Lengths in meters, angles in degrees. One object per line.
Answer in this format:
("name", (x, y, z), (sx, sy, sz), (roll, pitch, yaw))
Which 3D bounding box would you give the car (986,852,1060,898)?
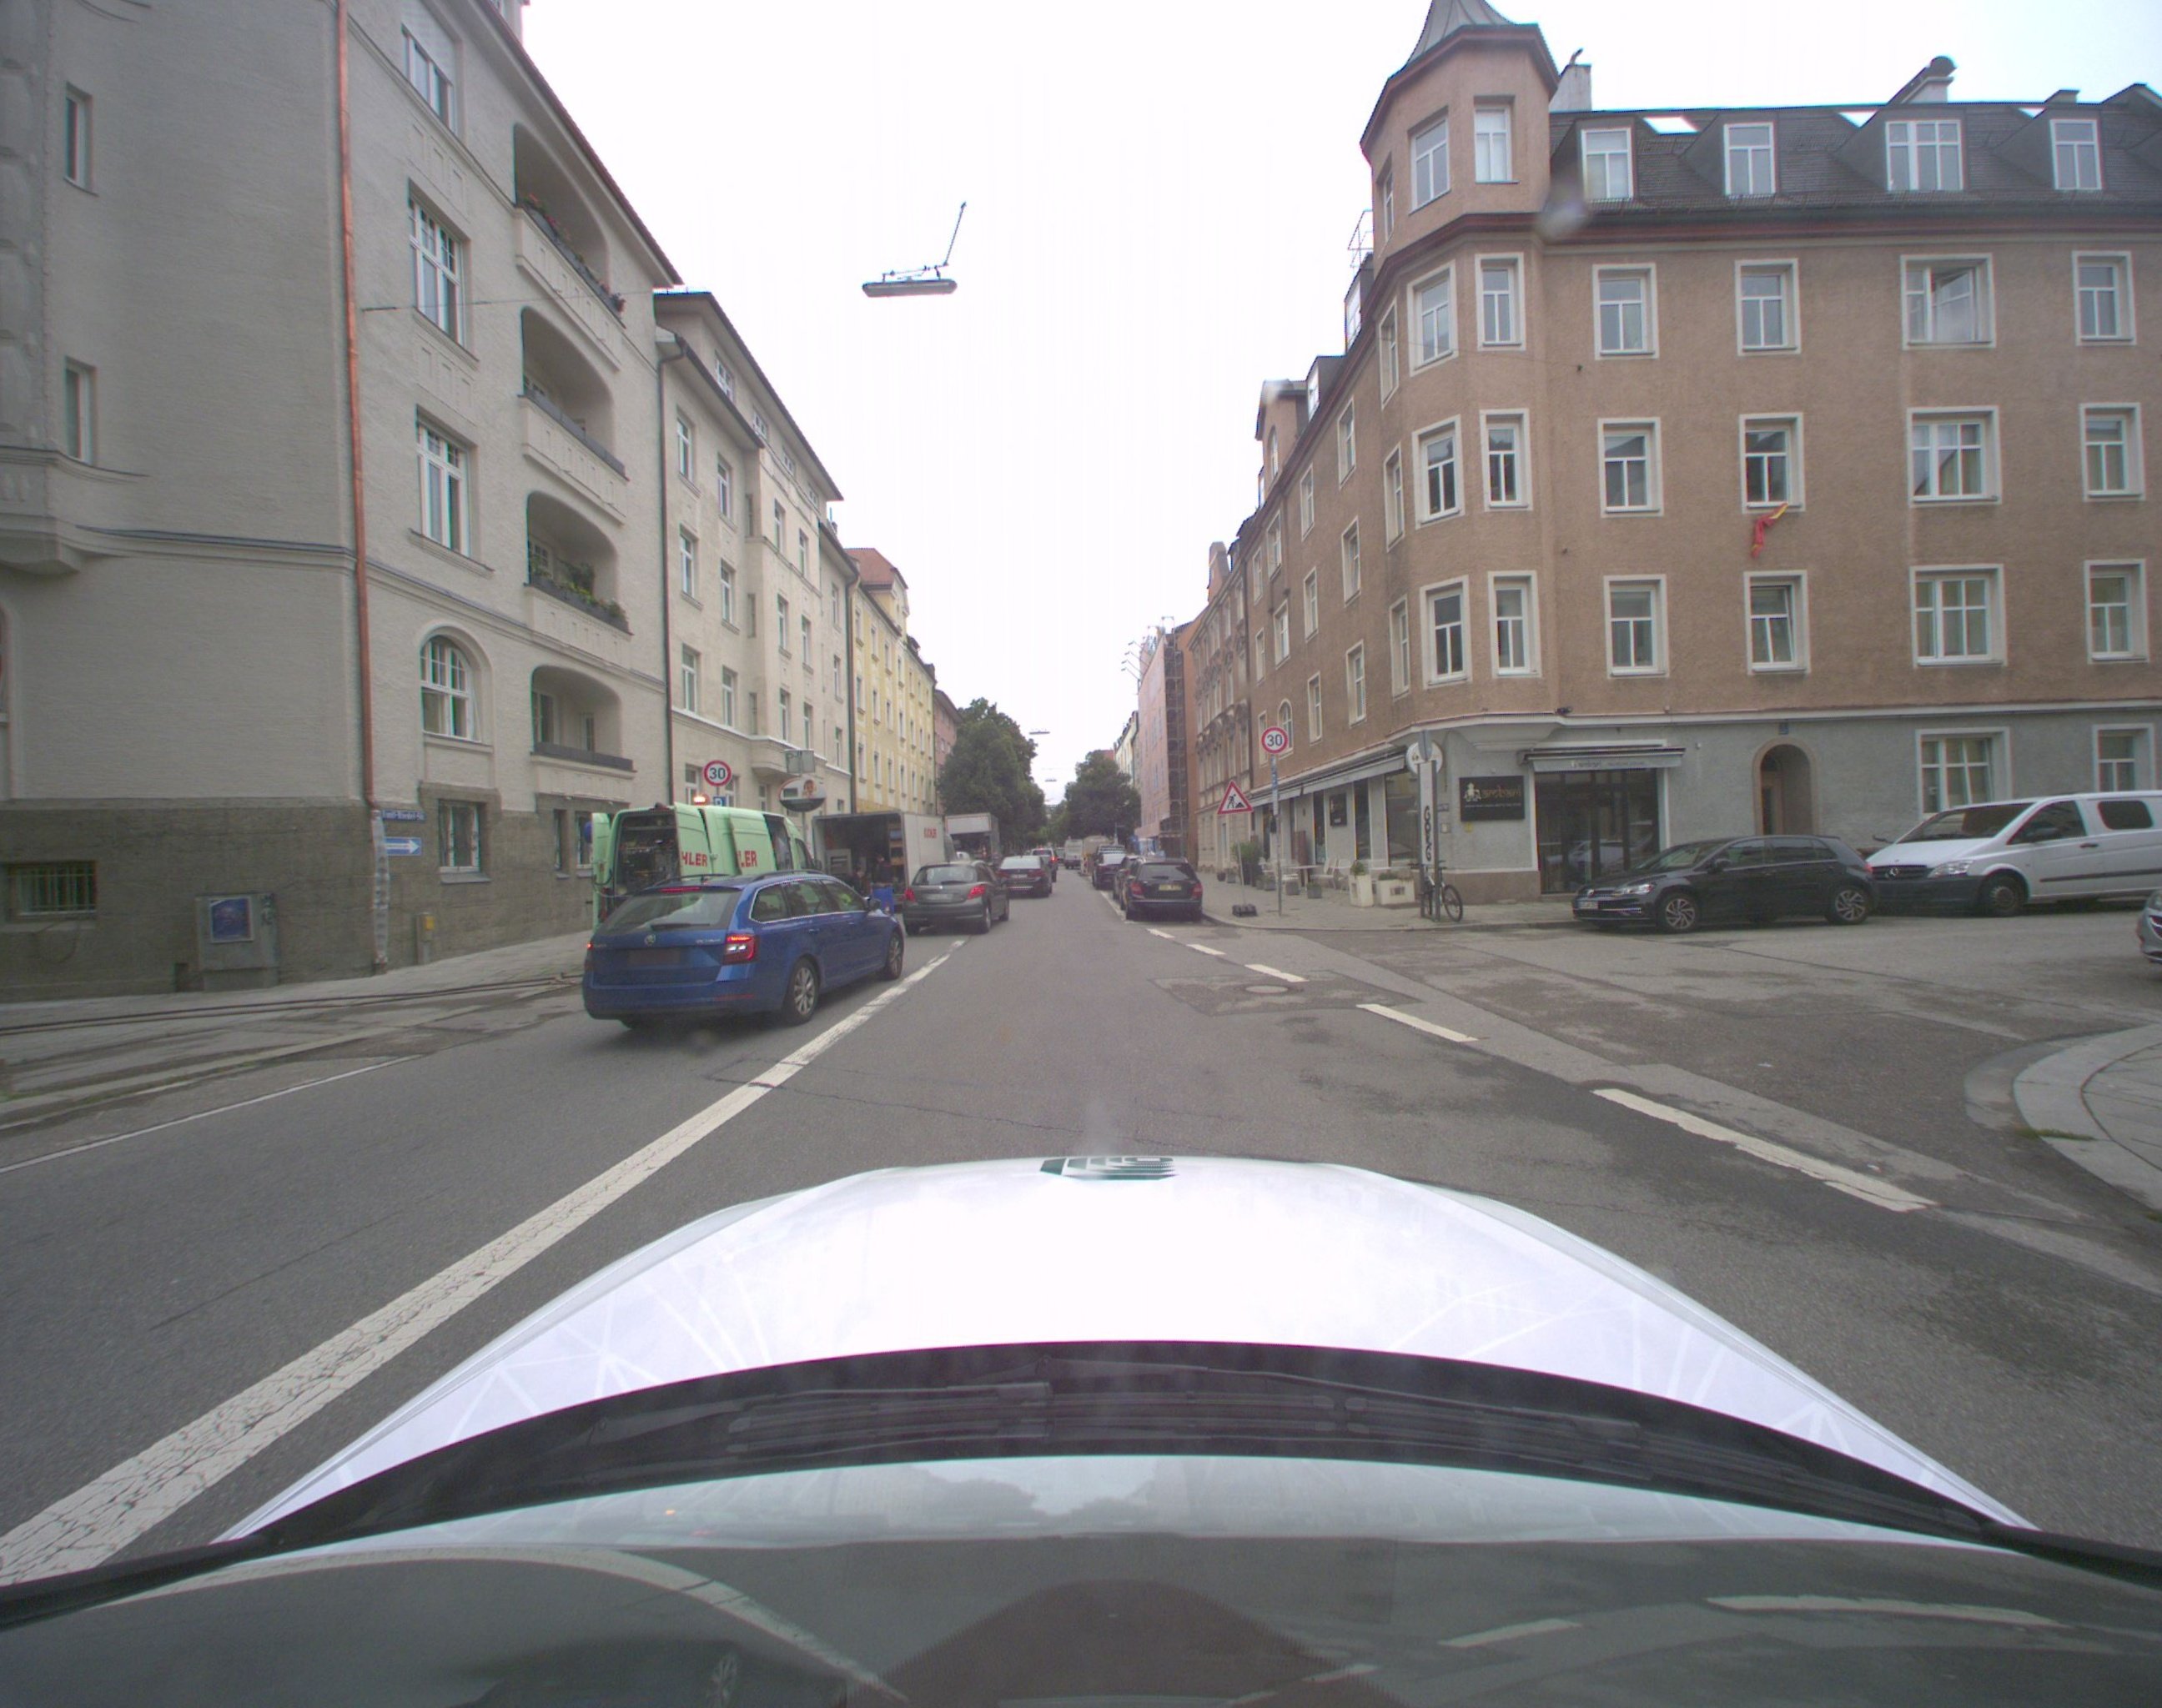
("car", (-1.970, 0.683, 29.048), (1.982, 1.429, 4.910), (1, 1, 3))

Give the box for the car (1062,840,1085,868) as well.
("car", (-0.630, -0.021, 75.417), (1.932, 2.480, 4.784), (-1, 0, 1))

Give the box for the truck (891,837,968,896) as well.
("truck", (-6.125, 0.472, 33.449), (2.280, 2.171, 4.804), (-1, 0, -1))

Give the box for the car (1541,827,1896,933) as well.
("car", (10.007, 0.420, 13.057), (4.156, 1.429, 1.924), (-2, -2, -1))

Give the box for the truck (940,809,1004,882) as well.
("truck", (-6.351, -0.462, 48.600), (3.004, 3.951, 6.990), (-1, 0, -2))

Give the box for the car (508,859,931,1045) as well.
("car", (-3.381, 0.824, 8.908), (1.976, 1.454, 4.744), (-2, -1, 8))

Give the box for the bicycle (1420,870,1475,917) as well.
("bicycle", (6.792, 0.717, 15.146), (0.455, 0.805, 1.327), (-1, 0, 2))

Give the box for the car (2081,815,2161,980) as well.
("car", (11.584, 0.333, 6.902), (4.022, 1.456, 1.747), (-2, 2, 1))

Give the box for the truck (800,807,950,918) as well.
("truck", (-6.046, 0.175, 25.279), (2.765, 2.873, 7.200), (-2, 1, 0))

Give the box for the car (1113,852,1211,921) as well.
("car", (1.862, 0.702, 19.920), (1.839, 1.429, 4.181), (1, 1, -2))

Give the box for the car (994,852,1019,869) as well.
("car", (-6.846, 0.594, 75.274), (1.934, 1.448, 3.864), (-1, 0, -1))

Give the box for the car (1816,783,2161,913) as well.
("car", (15.651, -0.087, 13.424), (5.111, 1.854, 2.099), (-2, -2, -1))

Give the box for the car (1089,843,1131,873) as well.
("car", (1.450, 0.168, 42.297), (1.984, 1.429, 4.140), (-2, 1, 0))

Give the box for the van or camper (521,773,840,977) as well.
("van or camper", (-6.672, 0.251, 14.797), (2.592, 2.840, 6.186), (-2, 1, 0))

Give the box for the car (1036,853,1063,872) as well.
("car", (-2.507, 0.667, 66.730), (1.984, 1.429, 4.140), (-2, 1, 0))

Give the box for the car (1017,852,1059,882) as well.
("car", (-2.300, 0.677, 44.297), (1.984, 1.429, 4.140), (-2, 1, 0))

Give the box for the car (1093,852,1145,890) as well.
("car", (1.532, 0.660, 34.395), (1.839, 1.429, 4.304), (1, 1, -2))

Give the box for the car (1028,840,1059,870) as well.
("car", (-2.735, 0.015, 59.826), (1.984, 2.075, 4.140), (-2, 1, 0))

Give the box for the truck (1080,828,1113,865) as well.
("truck", (1.268, -0.594, 68.285), (2.484, 2.973, 5.325), (-1, 0, -1))

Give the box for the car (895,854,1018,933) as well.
("car", (-2.563, 0.768, 17.732), (1.751, 1.461, 4.078), (-2, 0, 3))

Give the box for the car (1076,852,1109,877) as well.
("car", (0.726, 0.636, 52.153), (1.984, 1.429, 4.140), (-2, 1, 0))

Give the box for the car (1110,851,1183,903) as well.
("car", (1.983, 0.671, 25.706), (1.839, 1.429, 4.138), (1, 1, -2))

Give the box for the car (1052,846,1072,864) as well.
("car", (-2.078, 0.132, 91.106), (1.986, 1.904, 4.002), (-1, 0, 2))

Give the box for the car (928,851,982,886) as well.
("car", (-6.258, 0.701, 40.823), (1.984, 1.610, 4.140), (-1, 0, 0))
